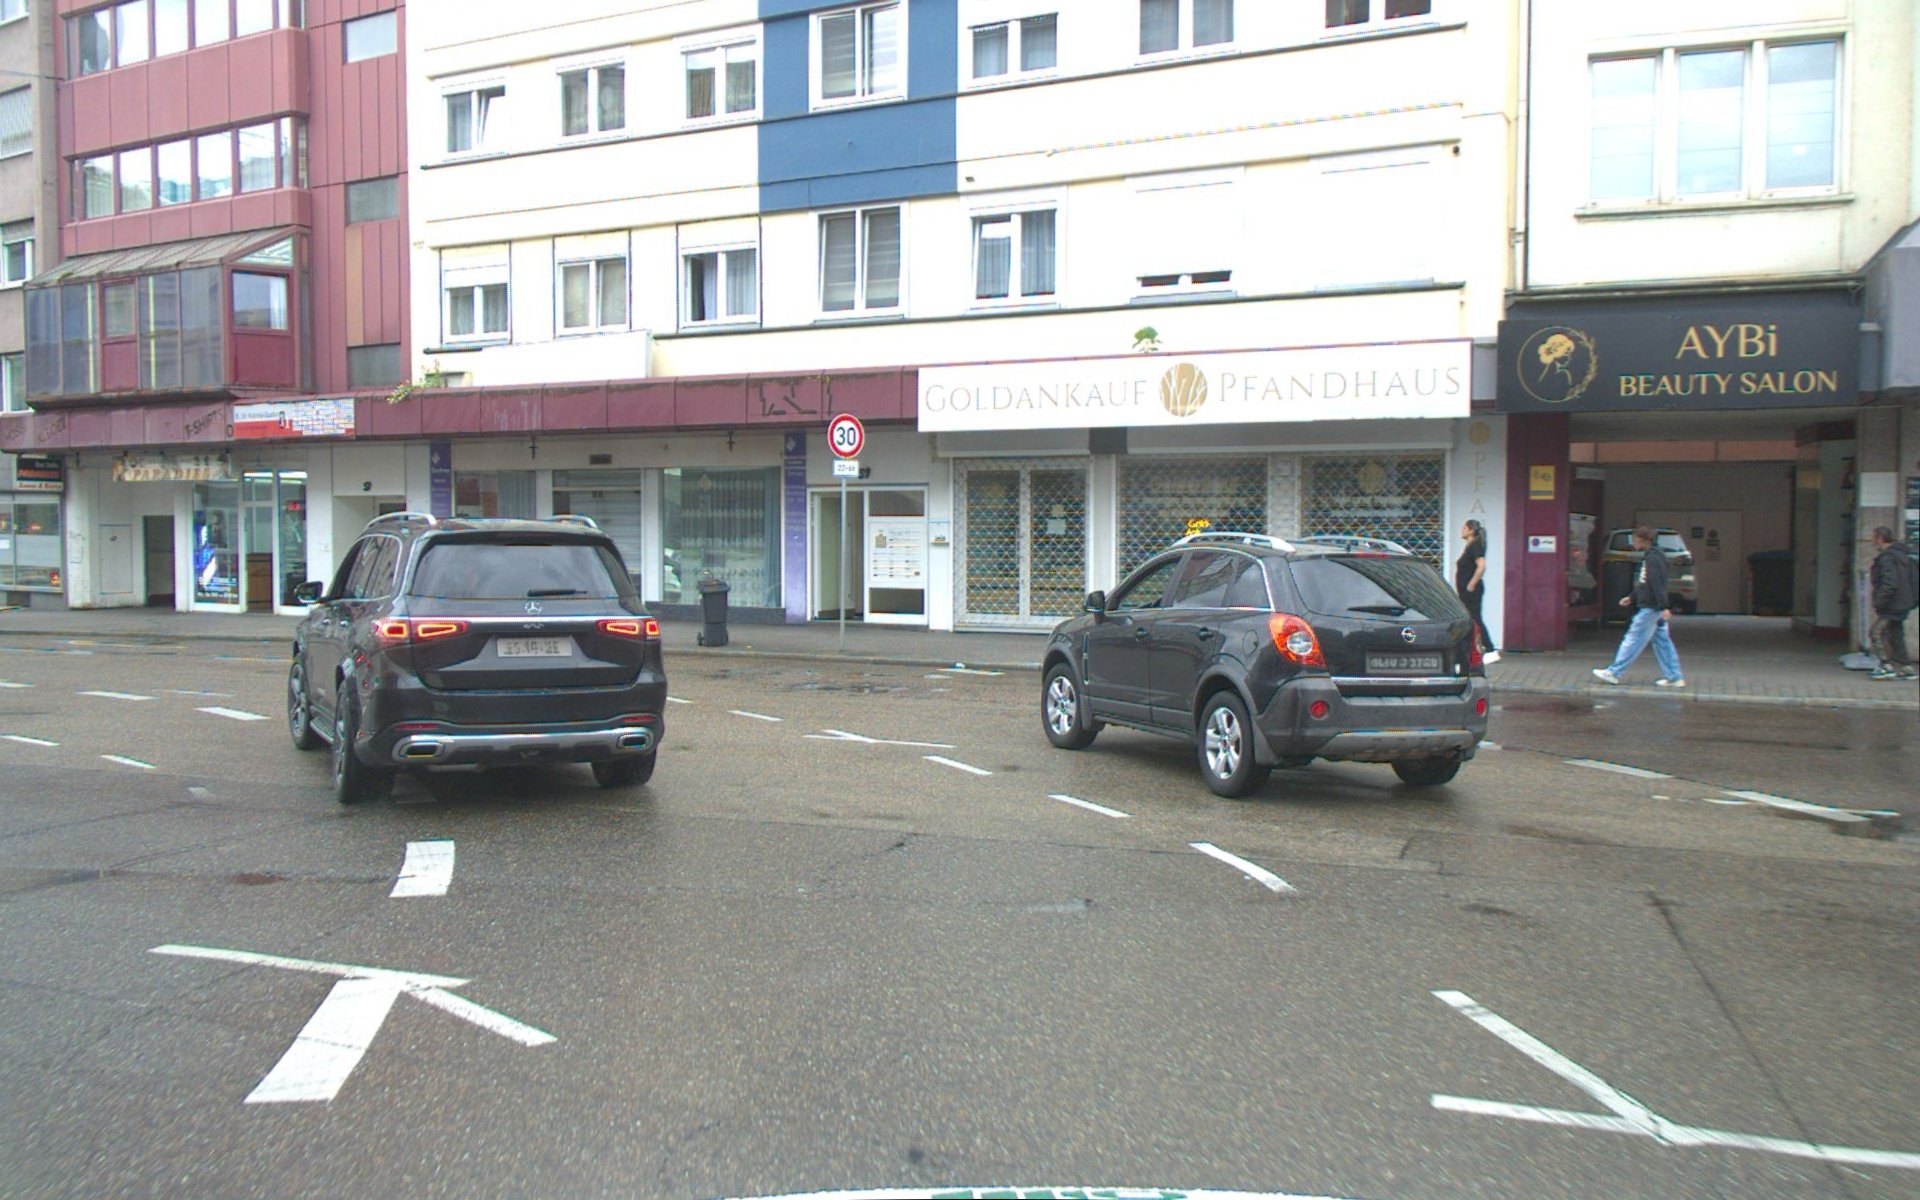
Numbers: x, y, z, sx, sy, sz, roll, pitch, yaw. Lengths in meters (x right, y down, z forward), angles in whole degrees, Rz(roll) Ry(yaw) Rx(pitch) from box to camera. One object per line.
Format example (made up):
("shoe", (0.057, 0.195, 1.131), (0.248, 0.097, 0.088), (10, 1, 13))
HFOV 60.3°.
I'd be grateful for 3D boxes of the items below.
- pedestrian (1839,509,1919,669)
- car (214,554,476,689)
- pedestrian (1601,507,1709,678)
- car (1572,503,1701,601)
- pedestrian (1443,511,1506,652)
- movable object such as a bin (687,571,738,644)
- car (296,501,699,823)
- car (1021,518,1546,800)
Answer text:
("pedestrian", (10.600, -0.135, 18.669), (1.008, 1.717, 0.831), (0, 6, 15))
("car", (-7.324, 0.226, 19.496), (1.755, 1.422, 3.944), (-1, 0, -39))
("pedestrian", (7.831, -0.100, 18.685), (1.008, 1.829, 0.831), (0, 6, 16))
("car", (12.662, -0.852, 31.171), (1.759, 1.699, 4.003), (0, 0, 15))
("pedestrian", (6.482, -0.246, 20.856), (0.737, 1.717, 0.566), (0, 6, 16))
("movable object such as a bin", (-3.651, 0.103, 24.407), (0.529, 0.966, 0.616), (-7, 8, -22))
("car", (-3.536, 0.250, 11.938), (2.014, 1.830, 4.624), (0, 3, -26))
("car", (2.171, 0.309, 12.539), (1.870, 1.724, 4.479), (0, 1, -20))
